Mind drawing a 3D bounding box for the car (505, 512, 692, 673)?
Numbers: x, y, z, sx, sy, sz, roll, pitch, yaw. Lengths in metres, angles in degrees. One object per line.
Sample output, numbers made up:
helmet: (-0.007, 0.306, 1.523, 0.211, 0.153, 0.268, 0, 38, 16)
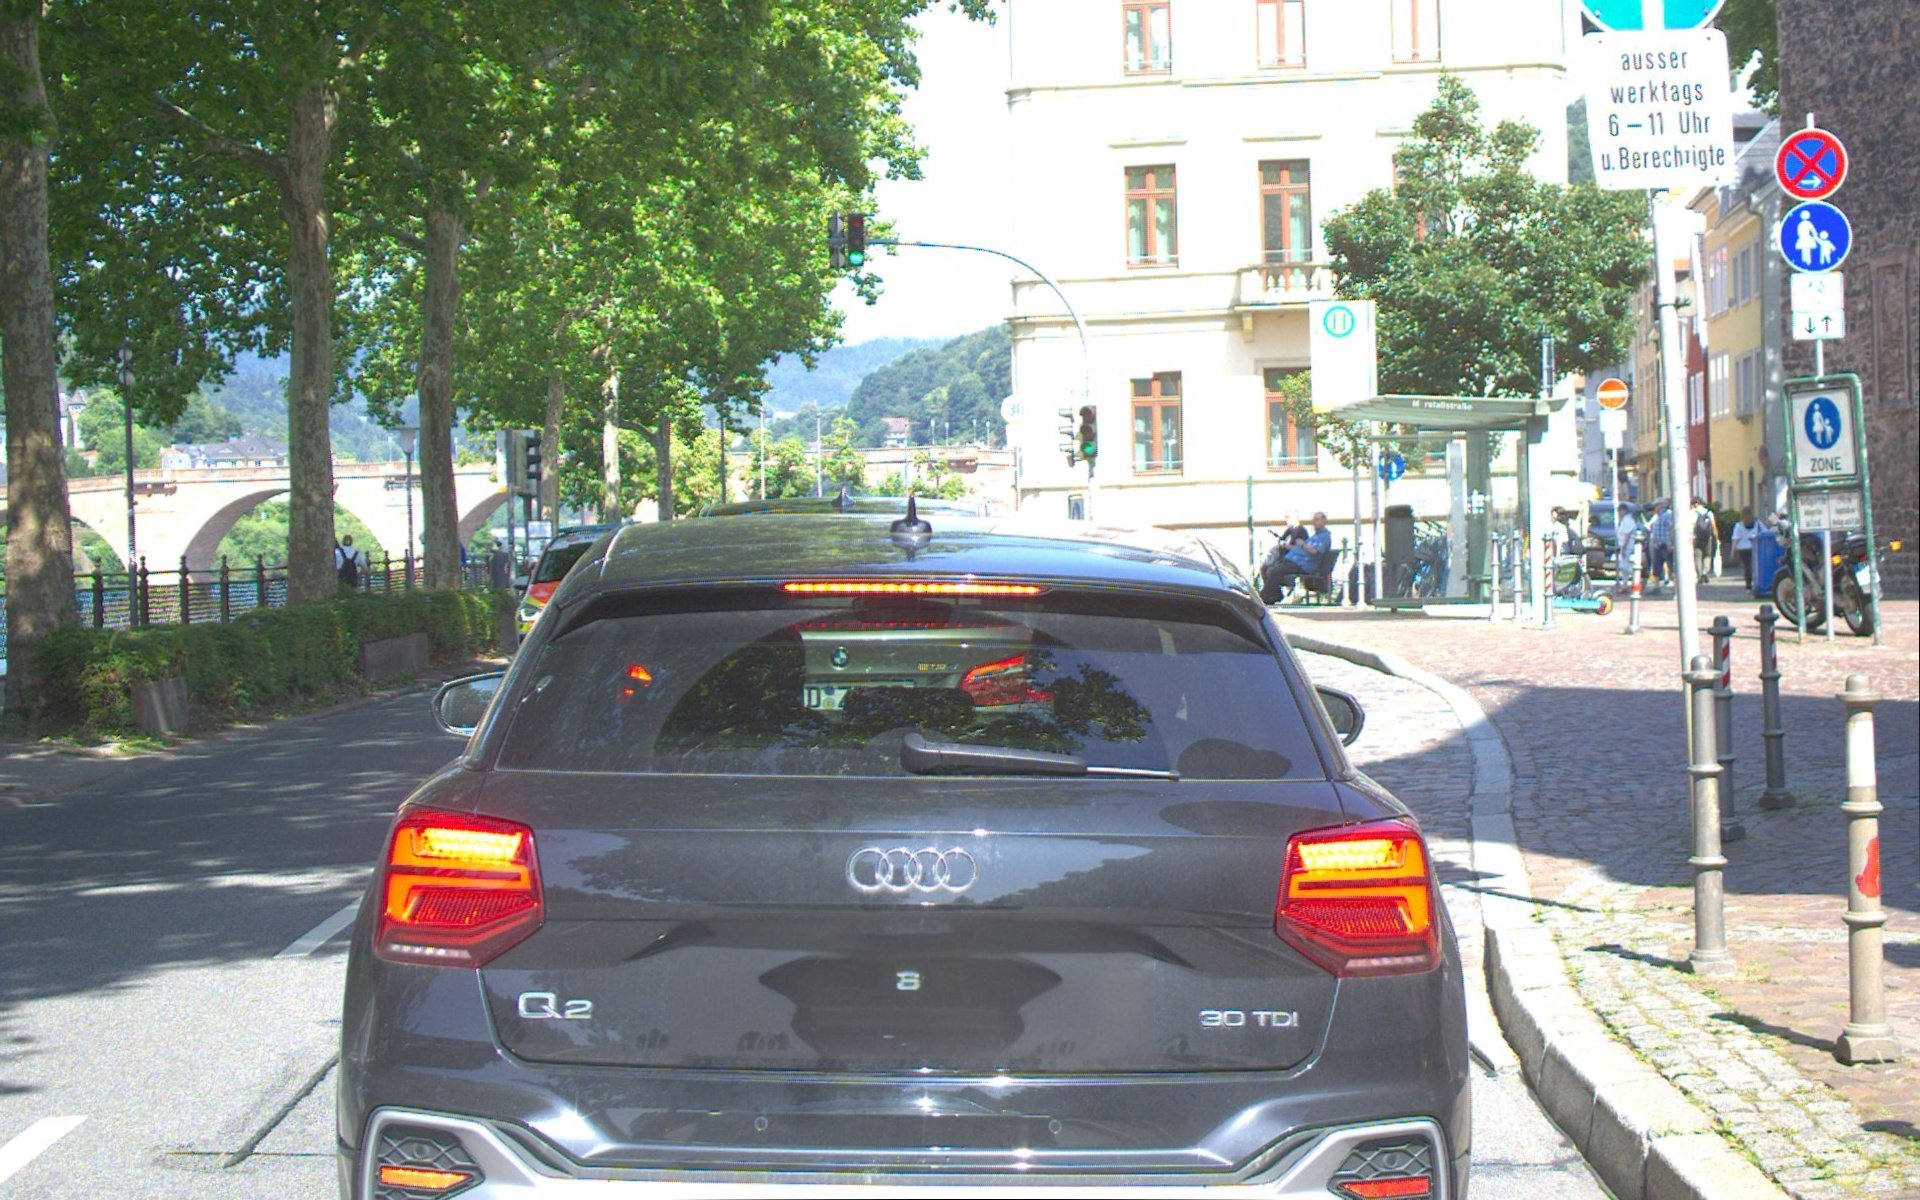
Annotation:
car: (-4.104, -0.126, 39.548, 1.673, 1.654, 4.223, -4, 1, -1)

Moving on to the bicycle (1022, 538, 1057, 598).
bicycle: (1.445, -0.585, 62.553, 0.437, 1.082, 1.677, 1, 0, -5)

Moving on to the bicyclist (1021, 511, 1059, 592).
bicyclist: (1.450, -0.880, 62.553, 0.605, 1.445, 0.591, 1, 0, -5)

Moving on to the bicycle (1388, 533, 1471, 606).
bicycle: (6.683, -0.432, 48.959, 1.201, 1.031, 0.179, 1, 0, -19)

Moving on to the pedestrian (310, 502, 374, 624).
pedestrian: (-10.287, -0.617, 57.271, 0.911, 2.007, 0.585, 1, 0, 4)

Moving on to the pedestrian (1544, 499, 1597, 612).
pedestrian: (7.559, -0.552, 42.577, 0.557, 1.380, 0.588, 1, 0, 2)

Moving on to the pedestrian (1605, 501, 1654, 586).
pedestrian: (12.495, -1.060, 64.187, 0.776, 1.559, 0.645, -2, 1, 5)

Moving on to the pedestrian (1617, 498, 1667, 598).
pedestrian: (13.833, -1.056, 69.694, 0.839, 2.007, 0.738, 1, 0, 0)

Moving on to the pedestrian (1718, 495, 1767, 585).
pedestrian: (14.236, -1.091, 62.531, 0.691, 1.607, 0.890, -2, 1, 21)

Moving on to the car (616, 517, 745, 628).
car: (-4.505, -0.473, 55.879, 1.769, 1.654, 4.000, -3, 1, -1)

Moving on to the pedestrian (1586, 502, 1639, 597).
pedestrian: (14.040, -1.082, 73.996, 0.944, 2.007, 0.807, 1, 0, 0)

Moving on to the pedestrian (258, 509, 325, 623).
pedestrian: (-10.683, -0.547, 54.924, 0.911, 1.805, 0.585, 1, 0, 4)

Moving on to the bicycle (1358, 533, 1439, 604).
bicycle: (6.317, -0.450, 49.550, 1.184, 1.012, 0.179, 1, 0, -19)

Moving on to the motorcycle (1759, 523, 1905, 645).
motorcycle: (7.600, -0.163, 30.068, 0.566, 1.009, 2.490, -1, 1, -2)

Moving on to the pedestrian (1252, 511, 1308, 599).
pedestrian: (4.543, -0.638, 48.870, 0.663, 1.227, 0.641, 1, 0, -6)

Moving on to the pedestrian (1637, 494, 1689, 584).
pedestrian: (12.900, -1.124, 63.096, 0.776, 1.616, 0.645, -2, 1, 2)

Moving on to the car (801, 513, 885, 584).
car: (-3.049, -1.343, 90.477, 1.993, 1.800, 4.000, 1, 0, 1)

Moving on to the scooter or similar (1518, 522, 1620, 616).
scooter or similar: (6.986, -0.355, 39.447, 1.088, 1.062, 0.323, 1, 0, -2)

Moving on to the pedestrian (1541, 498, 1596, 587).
pedestrian: (10.054, -0.948, 56.831, 0.638, 1.439, 0.799, -2, 1, -7)

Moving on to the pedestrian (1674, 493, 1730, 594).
pedestrian: (14.919, -1.127, 69.144, 0.940, 2.007, 0.807, 1, 0, 1)

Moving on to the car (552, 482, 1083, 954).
car: (-0.508, 0.369, 13.464, 1.793, 1.589, 3.399, 1, 1, -1)

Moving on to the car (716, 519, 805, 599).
car: (-4.867, -1.038, 84.351, 1.813, 1.719, 4.422, -6, 1, 0)

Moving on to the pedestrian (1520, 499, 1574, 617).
pedestrian: (9.501, -0.676, 55.634, 0.747, 1.884, 0.752, 1, 0, 2)

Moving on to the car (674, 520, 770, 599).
car: (-5.197, -0.914, 75.412, 1.738, 1.566, 4.092, -4, 1, 0)

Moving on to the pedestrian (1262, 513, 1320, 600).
pedestrian: (4.628, -0.605, 48.108, 0.663, 1.207, 0.641, 1, 0, -6)

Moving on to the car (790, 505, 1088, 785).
car: (-0.143, 0.220, 21.639, 1.710, 1.603, 3.655, 0, 1, -1)

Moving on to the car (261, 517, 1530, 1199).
car: (-0.115, 0.610, 6.587, 1.743, 1.504, 3.647, 1, 1, -1)

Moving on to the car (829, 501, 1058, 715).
car: (-0.155, 0.020, 29.122, 1.794, 1.676, 4.000, 1, 1, -1)
